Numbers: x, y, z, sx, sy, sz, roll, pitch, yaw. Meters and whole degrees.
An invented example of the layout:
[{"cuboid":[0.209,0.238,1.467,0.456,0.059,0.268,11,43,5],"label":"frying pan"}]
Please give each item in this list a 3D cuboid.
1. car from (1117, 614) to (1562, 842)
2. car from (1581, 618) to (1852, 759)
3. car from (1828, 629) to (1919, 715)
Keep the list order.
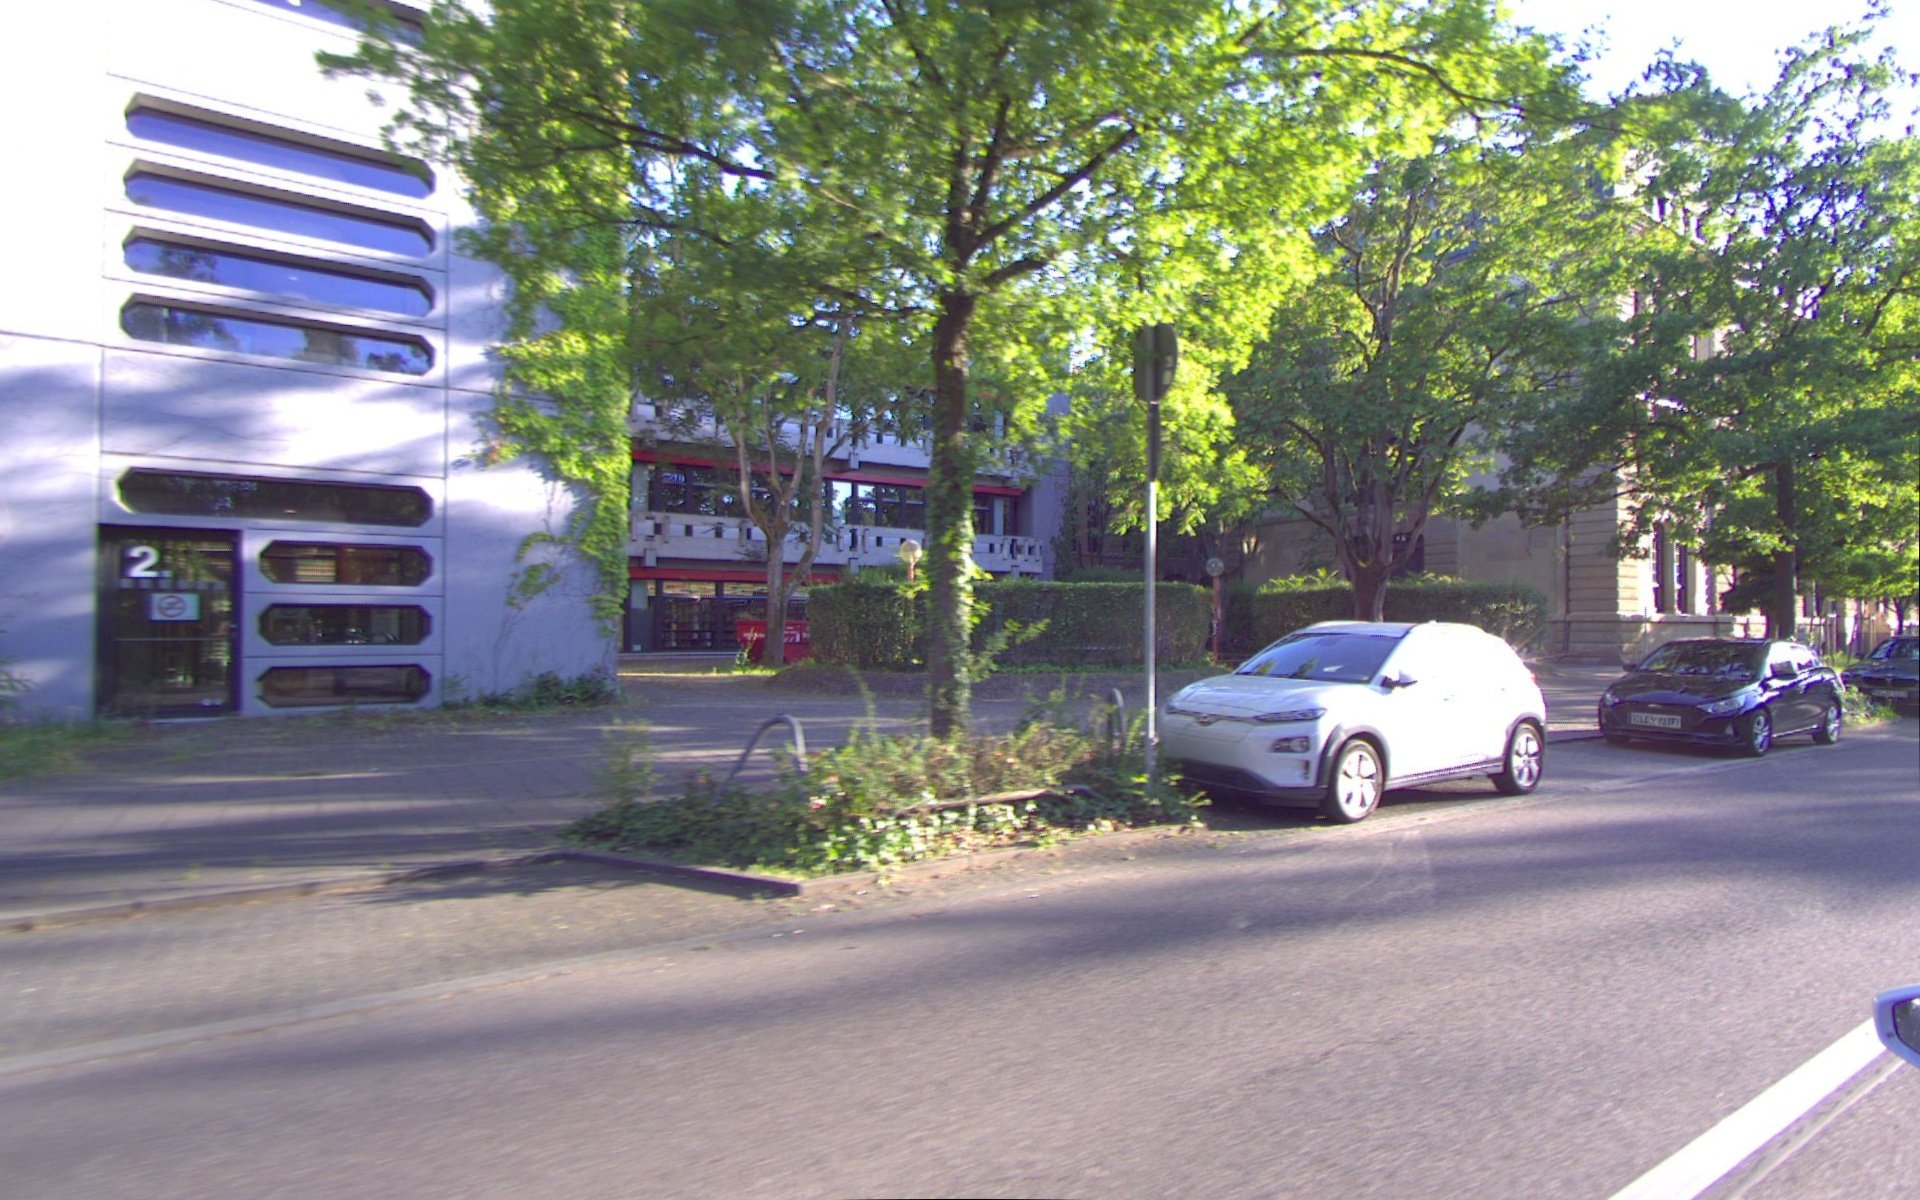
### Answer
[{"cuboid":[3.545,0.983,9.143,4.105,1.637,1.792,1,-2,-35],"label":"car"},{"cuboid":[10.396,1.095,13.717,4.105,1.637,1.769,1,-1,-35],"label":"car"},{"cuboid":[19.135,1.372,19.831,4.810,1.530,1.792,1,-1,-33],"label":"car"}]
